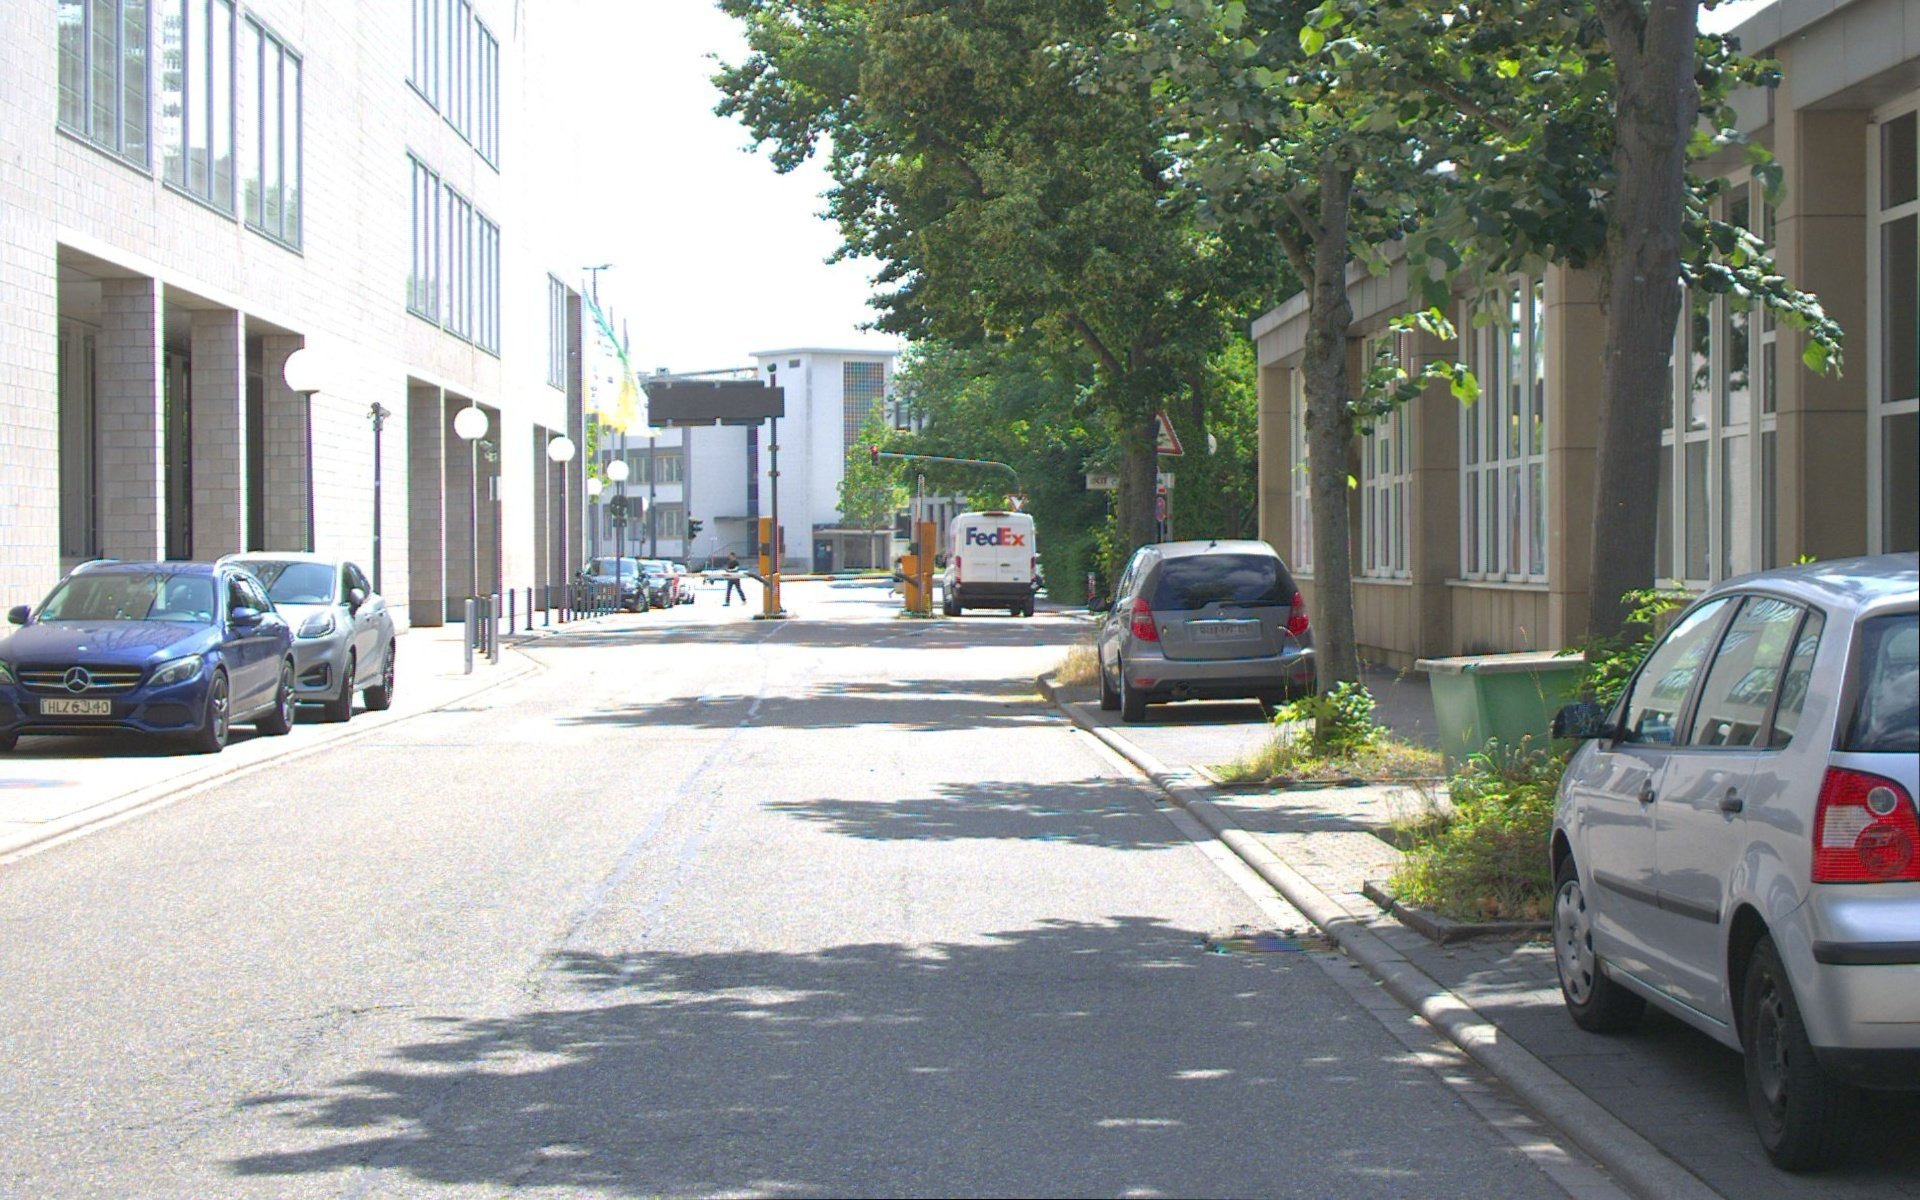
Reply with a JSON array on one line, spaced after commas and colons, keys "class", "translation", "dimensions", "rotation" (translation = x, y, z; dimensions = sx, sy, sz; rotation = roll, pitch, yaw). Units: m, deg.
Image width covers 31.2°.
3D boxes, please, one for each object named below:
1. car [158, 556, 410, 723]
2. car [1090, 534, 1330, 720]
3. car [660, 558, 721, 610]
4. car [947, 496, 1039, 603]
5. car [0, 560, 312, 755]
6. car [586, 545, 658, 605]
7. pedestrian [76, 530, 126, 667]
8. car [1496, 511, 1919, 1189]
[{"class": "car", "translation": [-6.361, 0.336, 32.730], "dimensions": [1.631, 1.479, 4.178], "rotation": [0, 0, -1]}, {"class": "car", "translation": [2.256, 0.208, 31.985], "dimensions": [1.858, 1.568, 4.000], "rotation": [-1, 1, -1]}, {"class": "car", "translation": [-8.179, -0.461, 104.489], "dimensions": [1.646, 1.493, 3.729], "rotation": [-1, -1, -1]}, {"class": "car", "translation": [0.788, -1.250, 84.824], "dimensions": [2.083, 2.531, 4.316], "rotation": [1, 1, -1]}, {"class": "car", "translation": [-6.442, 0.409, 27.319], "dimensions": [1.766, 1.423, 4.234], "rotation": [0, 0, 0]}, {"class": "car", "translation": [-9.083, -0.656, 92.599], "dimensions": [1.646, 1.493, 3.729], "rotation": [-1, -1, -1]}, {"class": "pedestrian", "translation": [-11.548, -0.015, 46.237], "dimensions": [0.511, 1.834, 0.735], "rotation": [0, -1, -2]}, {"class": "car", "translation": [2.640, 0.541, 9.662], "dimensions": [1.616, 1.533, 3.780], "rotation": [0, 1, -1]}]
